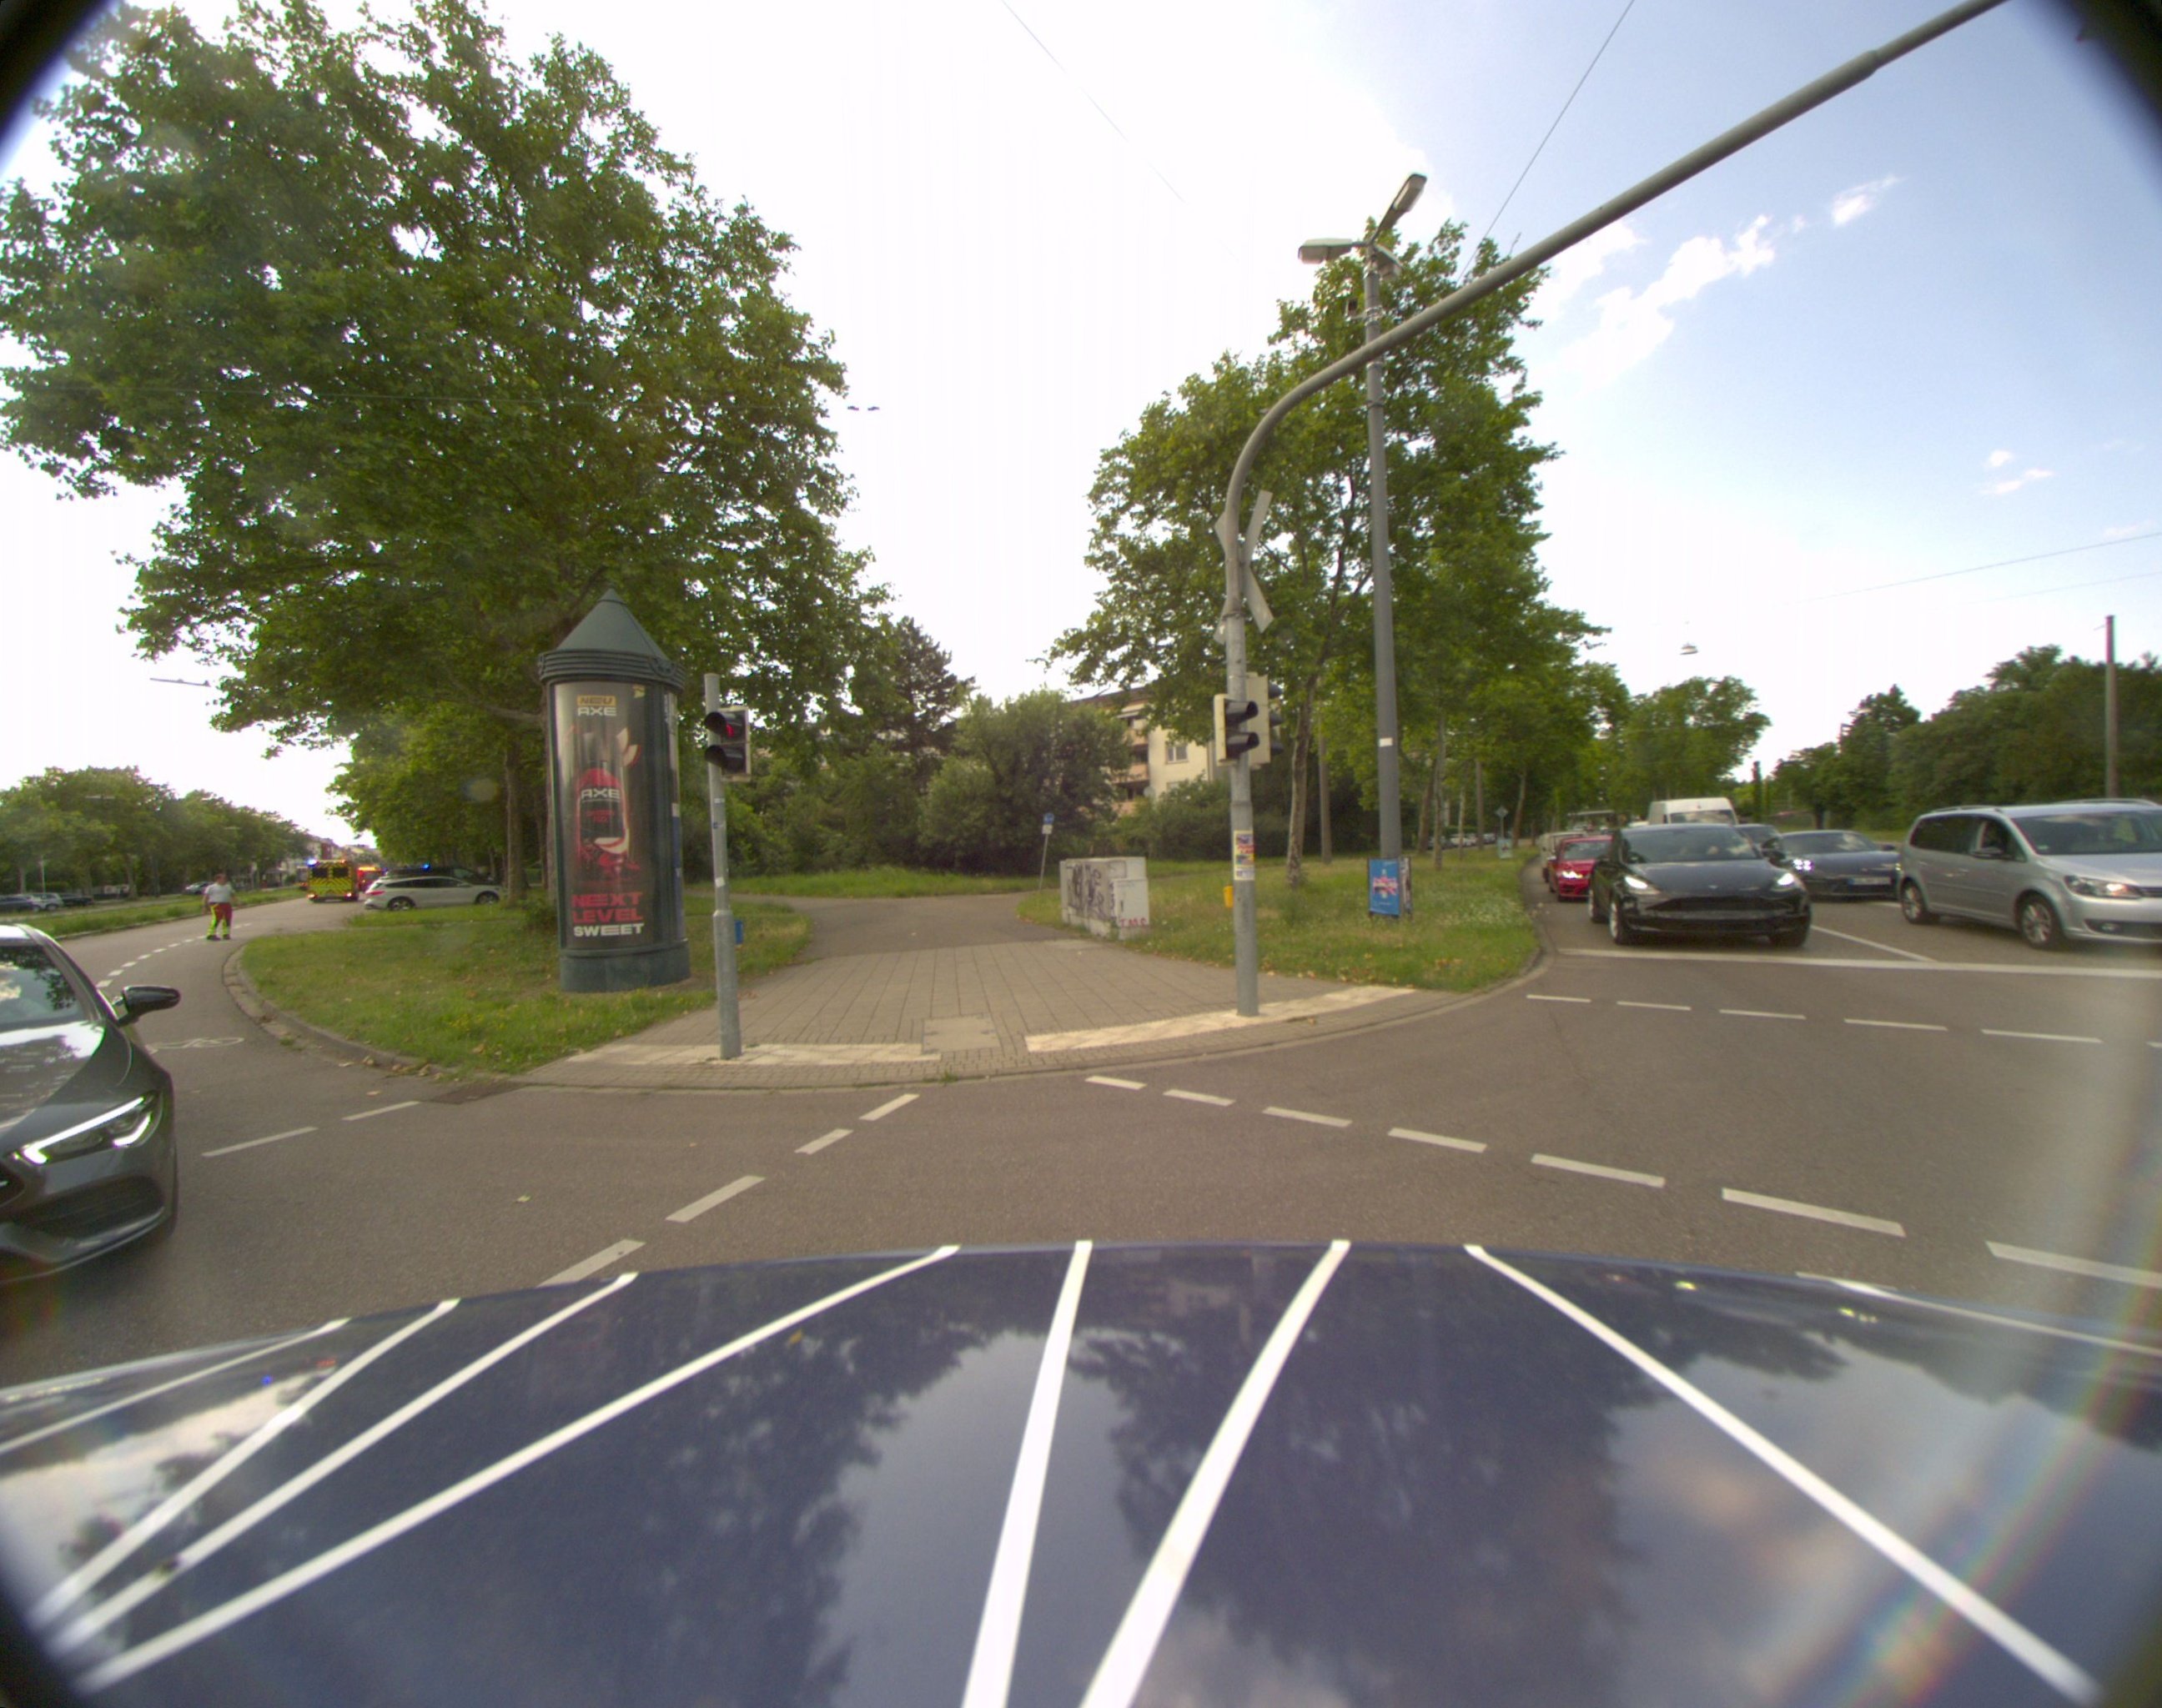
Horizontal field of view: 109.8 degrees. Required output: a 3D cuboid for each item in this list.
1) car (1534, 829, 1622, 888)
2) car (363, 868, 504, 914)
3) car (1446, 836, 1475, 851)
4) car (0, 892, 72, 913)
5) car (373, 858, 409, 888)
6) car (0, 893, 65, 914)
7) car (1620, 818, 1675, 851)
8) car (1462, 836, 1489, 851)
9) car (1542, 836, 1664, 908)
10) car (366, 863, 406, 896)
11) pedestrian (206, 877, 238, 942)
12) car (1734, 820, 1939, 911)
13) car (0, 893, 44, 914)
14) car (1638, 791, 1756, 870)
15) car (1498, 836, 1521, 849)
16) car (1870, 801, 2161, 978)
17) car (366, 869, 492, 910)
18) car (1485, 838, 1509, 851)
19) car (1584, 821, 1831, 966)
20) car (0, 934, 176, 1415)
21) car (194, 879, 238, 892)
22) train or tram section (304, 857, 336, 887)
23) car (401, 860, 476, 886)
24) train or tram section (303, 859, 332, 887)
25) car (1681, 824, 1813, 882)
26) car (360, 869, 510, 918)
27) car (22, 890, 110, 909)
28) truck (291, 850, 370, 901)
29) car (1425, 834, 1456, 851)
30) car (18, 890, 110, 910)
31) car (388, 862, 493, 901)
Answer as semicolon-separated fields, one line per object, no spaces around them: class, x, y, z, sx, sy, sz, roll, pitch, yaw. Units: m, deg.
car;15.359;0.085;23.708;1.798;1.560;4.509;-4;0;28
car;-28.480;1.589;33.521;4.551;1.634;1.995;-3;0;-43
car;42.184;-1.171;84.414;1.772;1.586;3.664;-2;-1;44
car;-83.860;3.889;60.244;1.897;1.356;4.322;-2;1;27
car;-82.081;2.274;90.407;2.981;3.310;7.439;-1;-1;-42
car;-82.011;3.817;58.430;1.897;1.356;4.322;-2;1;27
car;31.272;-1.095;42.063;1.760;1.637;4.350;-2;1;28
car;45.411;-1.187;87.444;1.772;1.586;3.664;-2;-1;44
car;12.147;0.346;17.960;1.798;1.383;4.509;-4;0;28
car;-73.797;2.747;80.726;2.981;3.297;7.439;-1;-1;-42
pedestrian;-23.054;1.481;20.399;0.585;1.674;0.495;-2;1;44
car;14.687;0.162;15.064;1.800;1.499;4.006;-4;0;29
car;-80.038;3.732;55.759;1.897;1.356;4.322;-2;1;27
car;22.920;-0.871;28.582;2.222;2.515;5.942;-4;0;28
car;57.564;-1.519;101.997;1.772;1.586;3.664;-2;-1;44
car;11.767;0.263;9.041;1.926;1.642;4.509;-4;0;28
car;-31.963;1.711;37.339;4.551;1.634;1.995;-3;0;-43
car;52.512;-1.224;95.913;1.772;1.586;3.664;-2;-1;44
car;8.711;0.420;11.048;1.927;1.642;4.587;-4;0;30
car;-5.800;1.224;3.404;4.593;1.385;1.845;-1;0;35
car;-130.940;4.713;115.044;1.818;1.827;4.006;-2;-1;18
train or tram section;-94.170;2.221;93.969;7.401;3.576;2.500;-1;2;44
car;-87.513;2.608;103.625;2.967;3.310;7.475;-2;-1;44
train or tram section;-104.790;2.628;104.189;7.401;3.576;2.500;-1;2;44
car;18.513;-0.079;21.360;1.761;1.367;4.350;-4;0;28
car;-26.759;1.582;31.600;4.551;1.634;1.995;-3;0;-43
car;-89.245;3.970;66.851;1.897;1.356;4.322;-2;1;27
truck;-53.758;1.461;54.622;3.199;3.298;7.502;-3;1;-40
car;36.556;-1.135;77.290;1.772;1.586;3.664;-2;-1;44
car;-85.540;3.838;63.994;1.897;1.356;4.322;-2;1;27
car;-37.893;1.601;45.091;4.565;2.002;1.995;-3;1;-40
